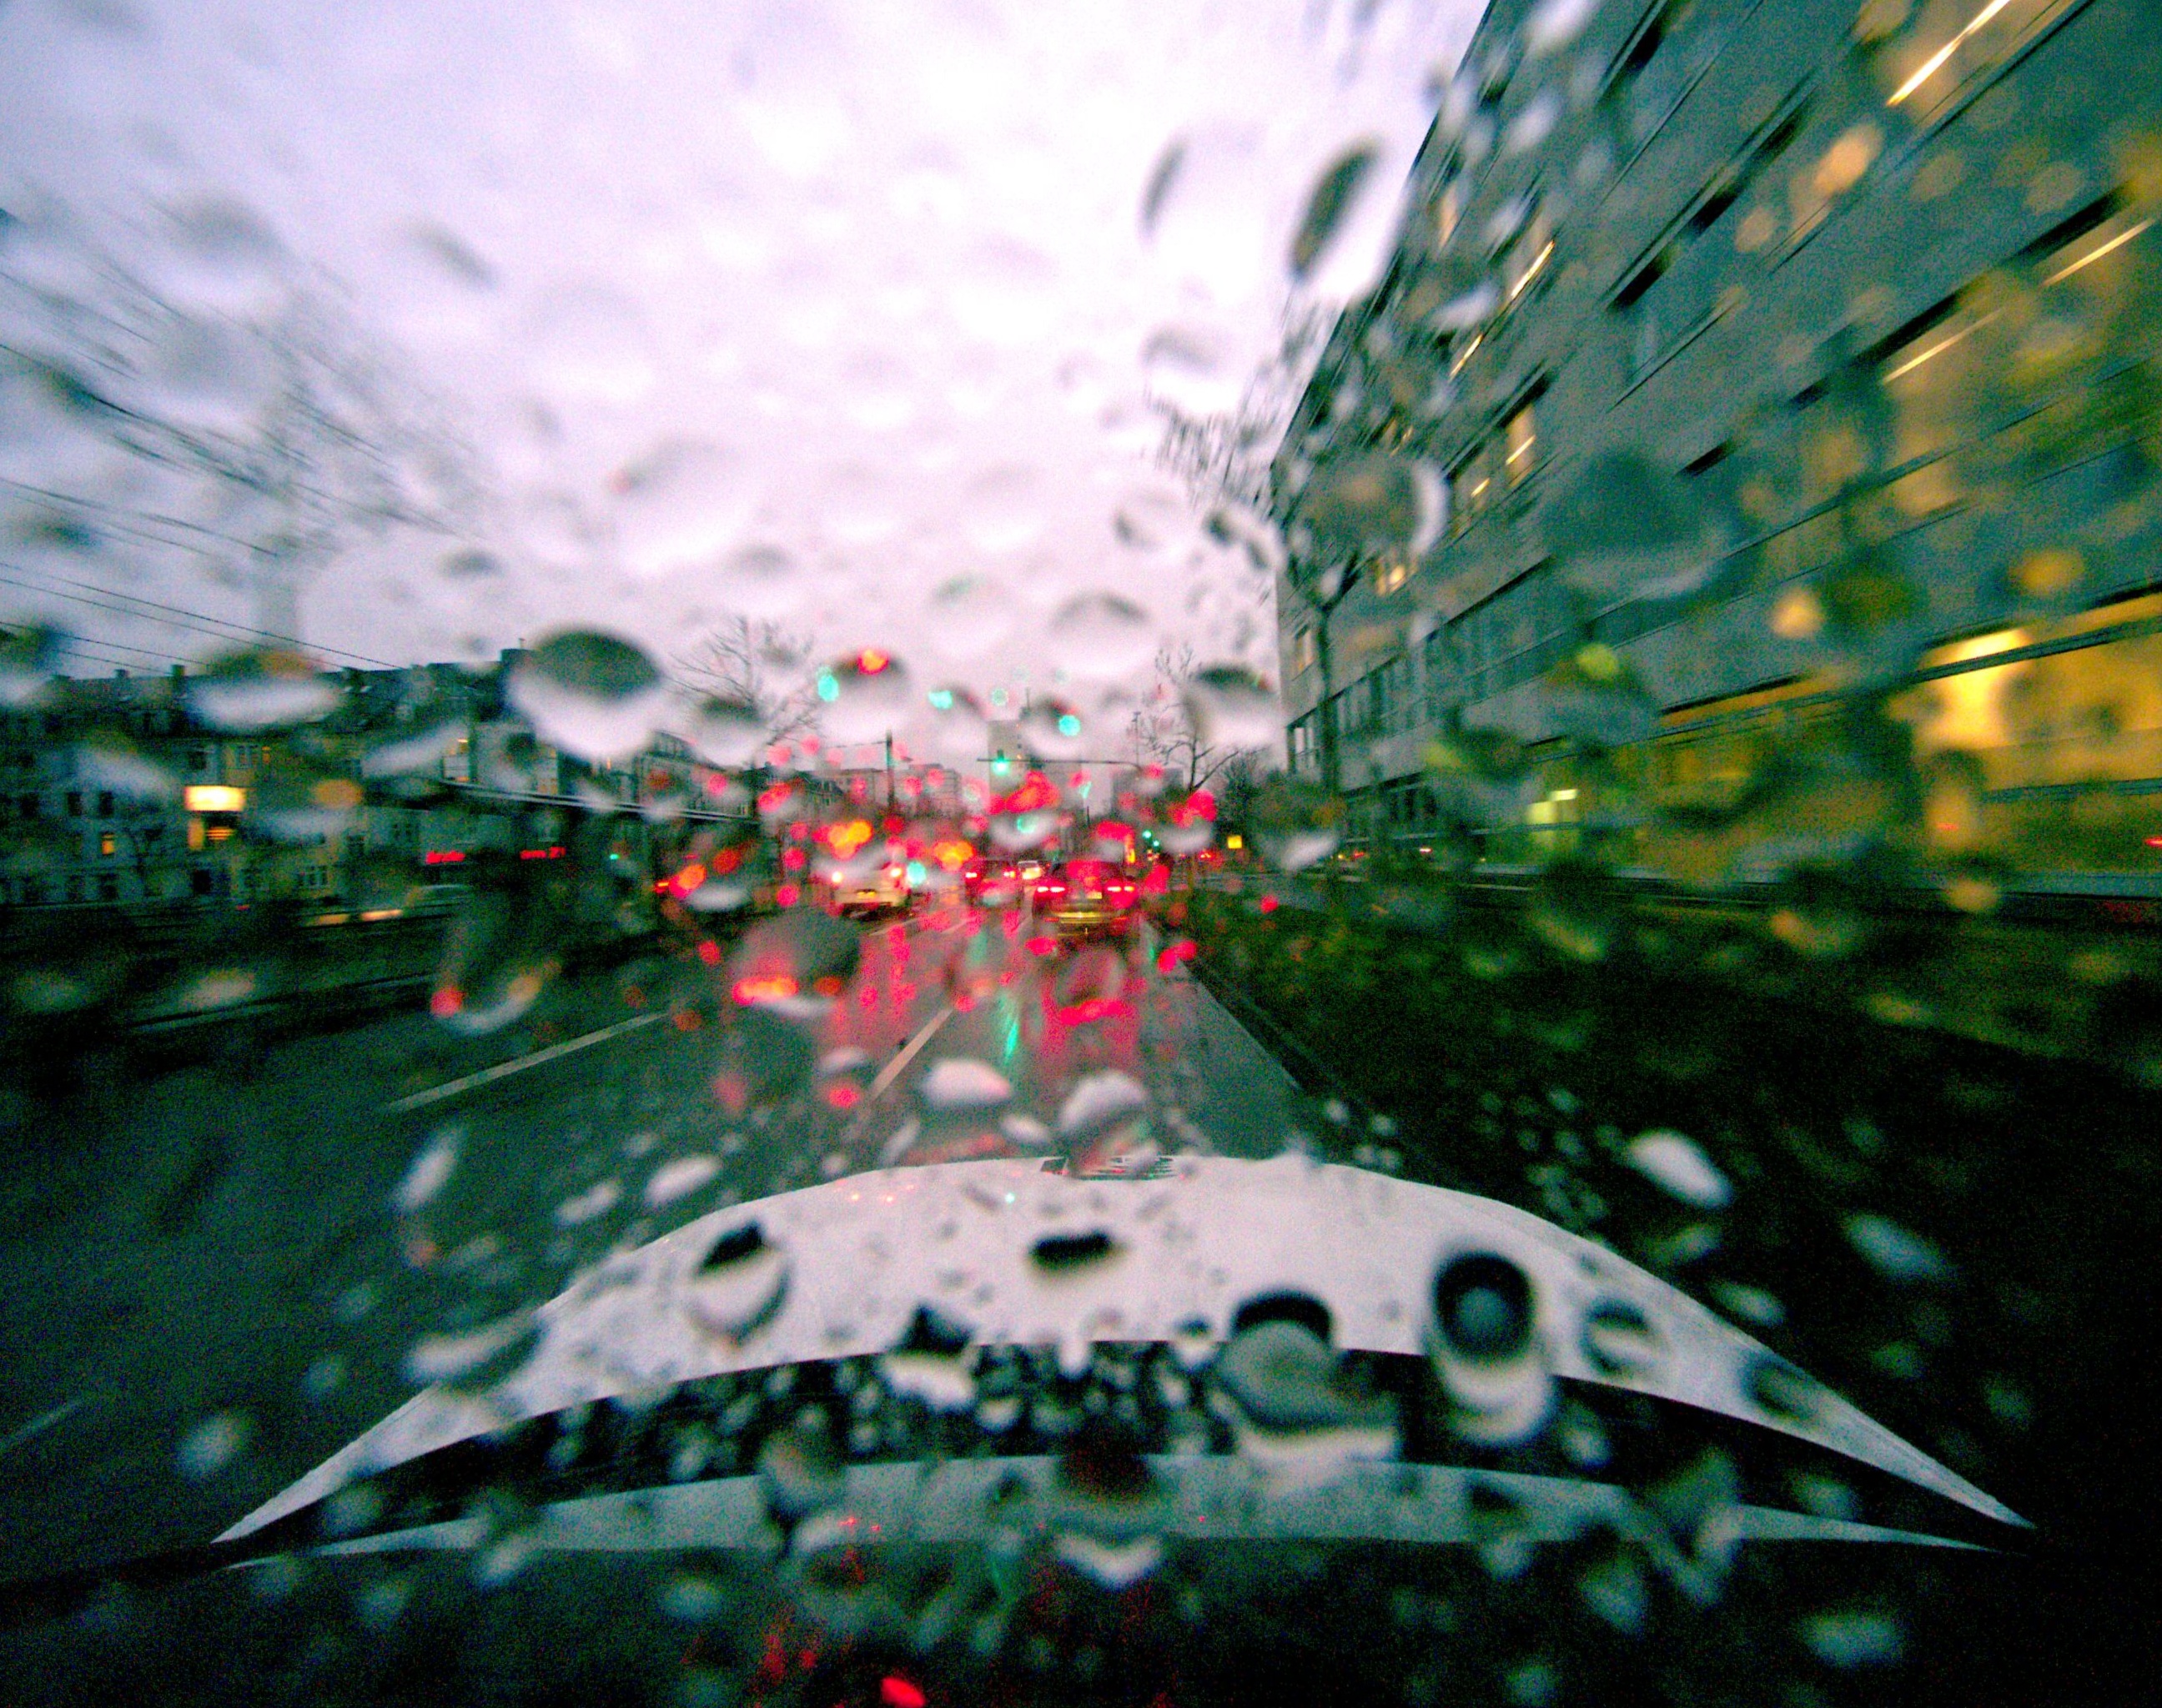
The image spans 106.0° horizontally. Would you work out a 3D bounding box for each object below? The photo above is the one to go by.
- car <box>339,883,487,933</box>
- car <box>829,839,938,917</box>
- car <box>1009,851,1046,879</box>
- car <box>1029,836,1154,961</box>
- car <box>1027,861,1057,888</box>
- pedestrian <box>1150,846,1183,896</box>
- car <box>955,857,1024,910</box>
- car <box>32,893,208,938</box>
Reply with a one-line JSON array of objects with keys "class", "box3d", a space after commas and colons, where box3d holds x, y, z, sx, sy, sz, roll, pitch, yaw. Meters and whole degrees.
[{"class": "car", "box3d": [-22.436, 1.783, 27.548, 1.751, 1.497, 3.762, -1, -1, 3]}, {"class": "car", "box3d": [-5.729, 0.657, 24.267, 1.946, 2.033, 4.882, -2, 0, 0]}, {"class": "car", "box3d": [-3.271, 0.698, 50.362, 1.987, 1.642, 4.021, -1, -1, 0]}, {"class": "car", "box3d": [0.080, 0.757, 15.174, 1.989, 1.976, 4.063, -1, -1, -3]}, {"class": "car", "box3d": [-3.112, 1.626, 65.294, 1.985, 2.014, 4.002, -1, -1, 3]}, {"class": "pedestrian", "box3d": [3.269, 0.641, 30.988, 0.788, 1.750, 0.867, -7, 0, 27]}, {"class": "car", "box3d": [-3.140, 1.007, 28.887, 1.988, 1.712, 4.322, -1, -1, -1]}, {"class": "car", "box3d": [-33.085, 2.102, 28.137, 3.792, 1.366, 1.695, -1, -1, -5]}]
